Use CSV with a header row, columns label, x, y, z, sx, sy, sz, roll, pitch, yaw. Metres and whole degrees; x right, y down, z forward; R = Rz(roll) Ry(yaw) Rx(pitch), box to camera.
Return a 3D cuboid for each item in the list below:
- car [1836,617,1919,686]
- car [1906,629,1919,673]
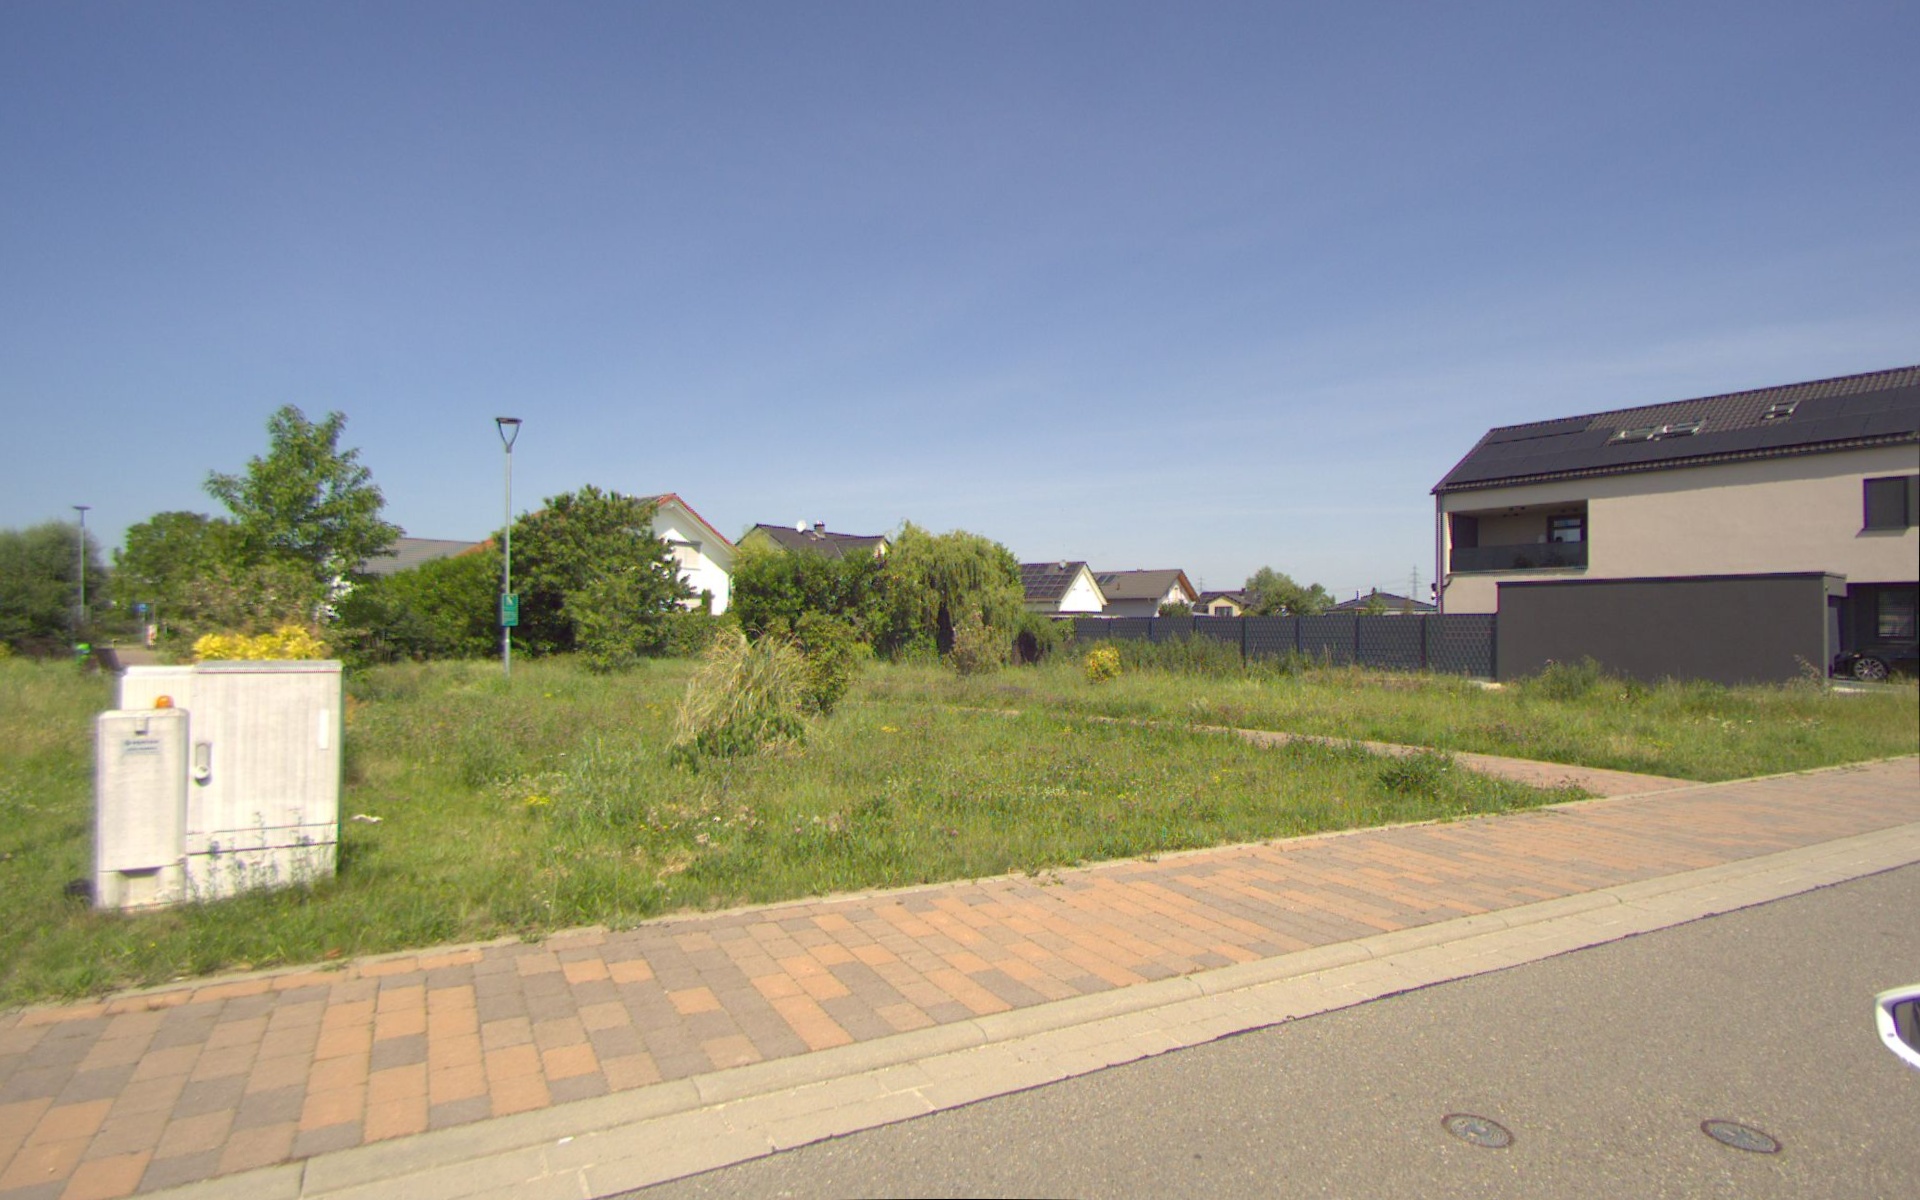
label,x,y,z,sx,sy,sz,roll,pitch,yaw
car,25.021,1.350,25.156,1.754,1.653,4.343,2,1,-37
car,34.766,1.776,33.853,1.737,1.506,3.961,1,-1,-35
